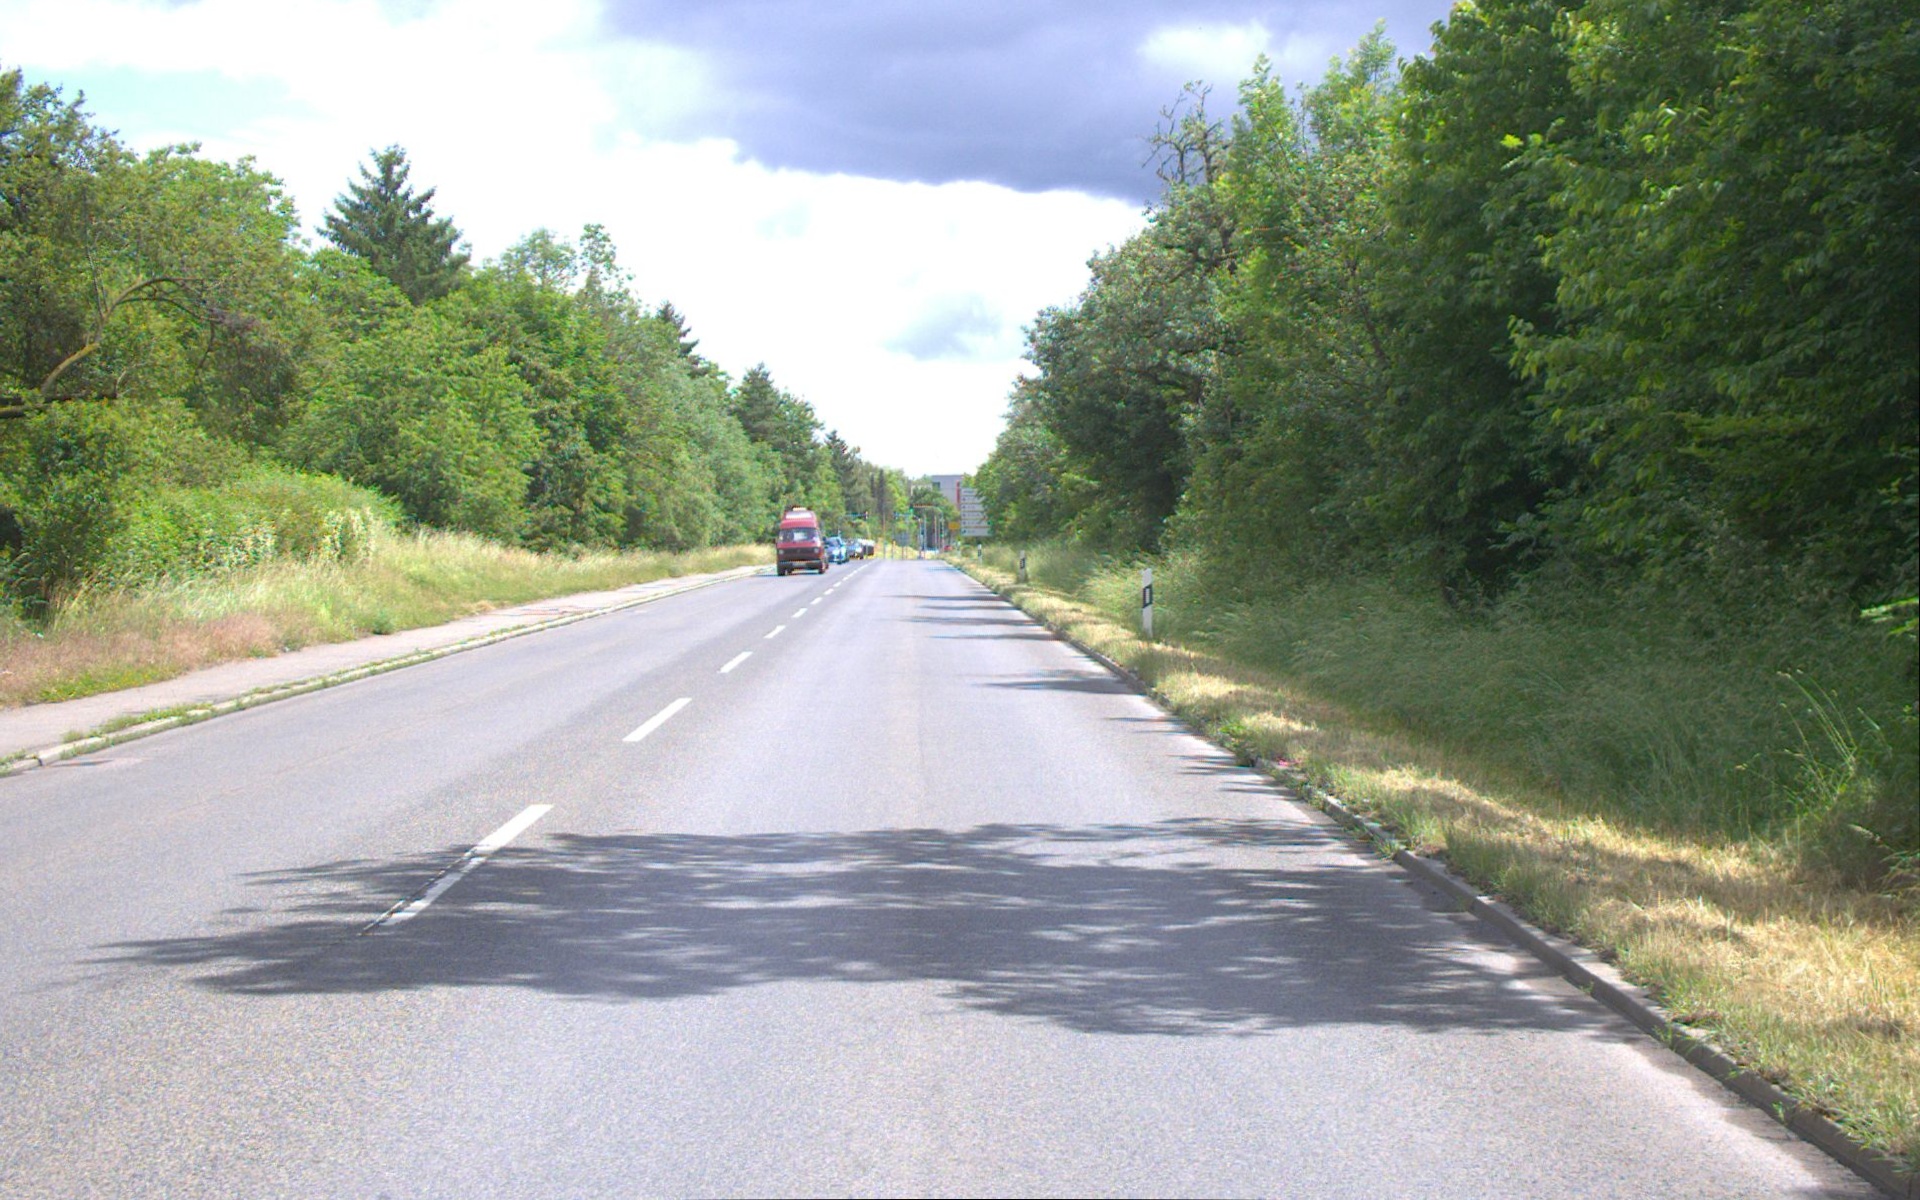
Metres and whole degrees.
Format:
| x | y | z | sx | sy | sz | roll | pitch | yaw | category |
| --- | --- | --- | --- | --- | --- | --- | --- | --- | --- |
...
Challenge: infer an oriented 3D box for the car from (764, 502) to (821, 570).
| x | y | z | sx | sy | sz | roll | pitch | yaw | category |
| --- | --- | --- | --- | --- | --- | --- | --- | --- | --- |
| -6.534 | -2.501 | 134.675 | 1.969 | 2.541 | 4.725 | -3 | 1 | -1 | car |

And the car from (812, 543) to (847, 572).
| x | y | z | sx | sy | sz | roll | pitch | yaw | category |
| --- | --- | --- | --- | --- | --- | --- | --- | --- | --- |
| -6.980 | -2.303 | 184.281 | 1.784 | 1.441 | 4.453 | -3 | 1 | -2 | car |
